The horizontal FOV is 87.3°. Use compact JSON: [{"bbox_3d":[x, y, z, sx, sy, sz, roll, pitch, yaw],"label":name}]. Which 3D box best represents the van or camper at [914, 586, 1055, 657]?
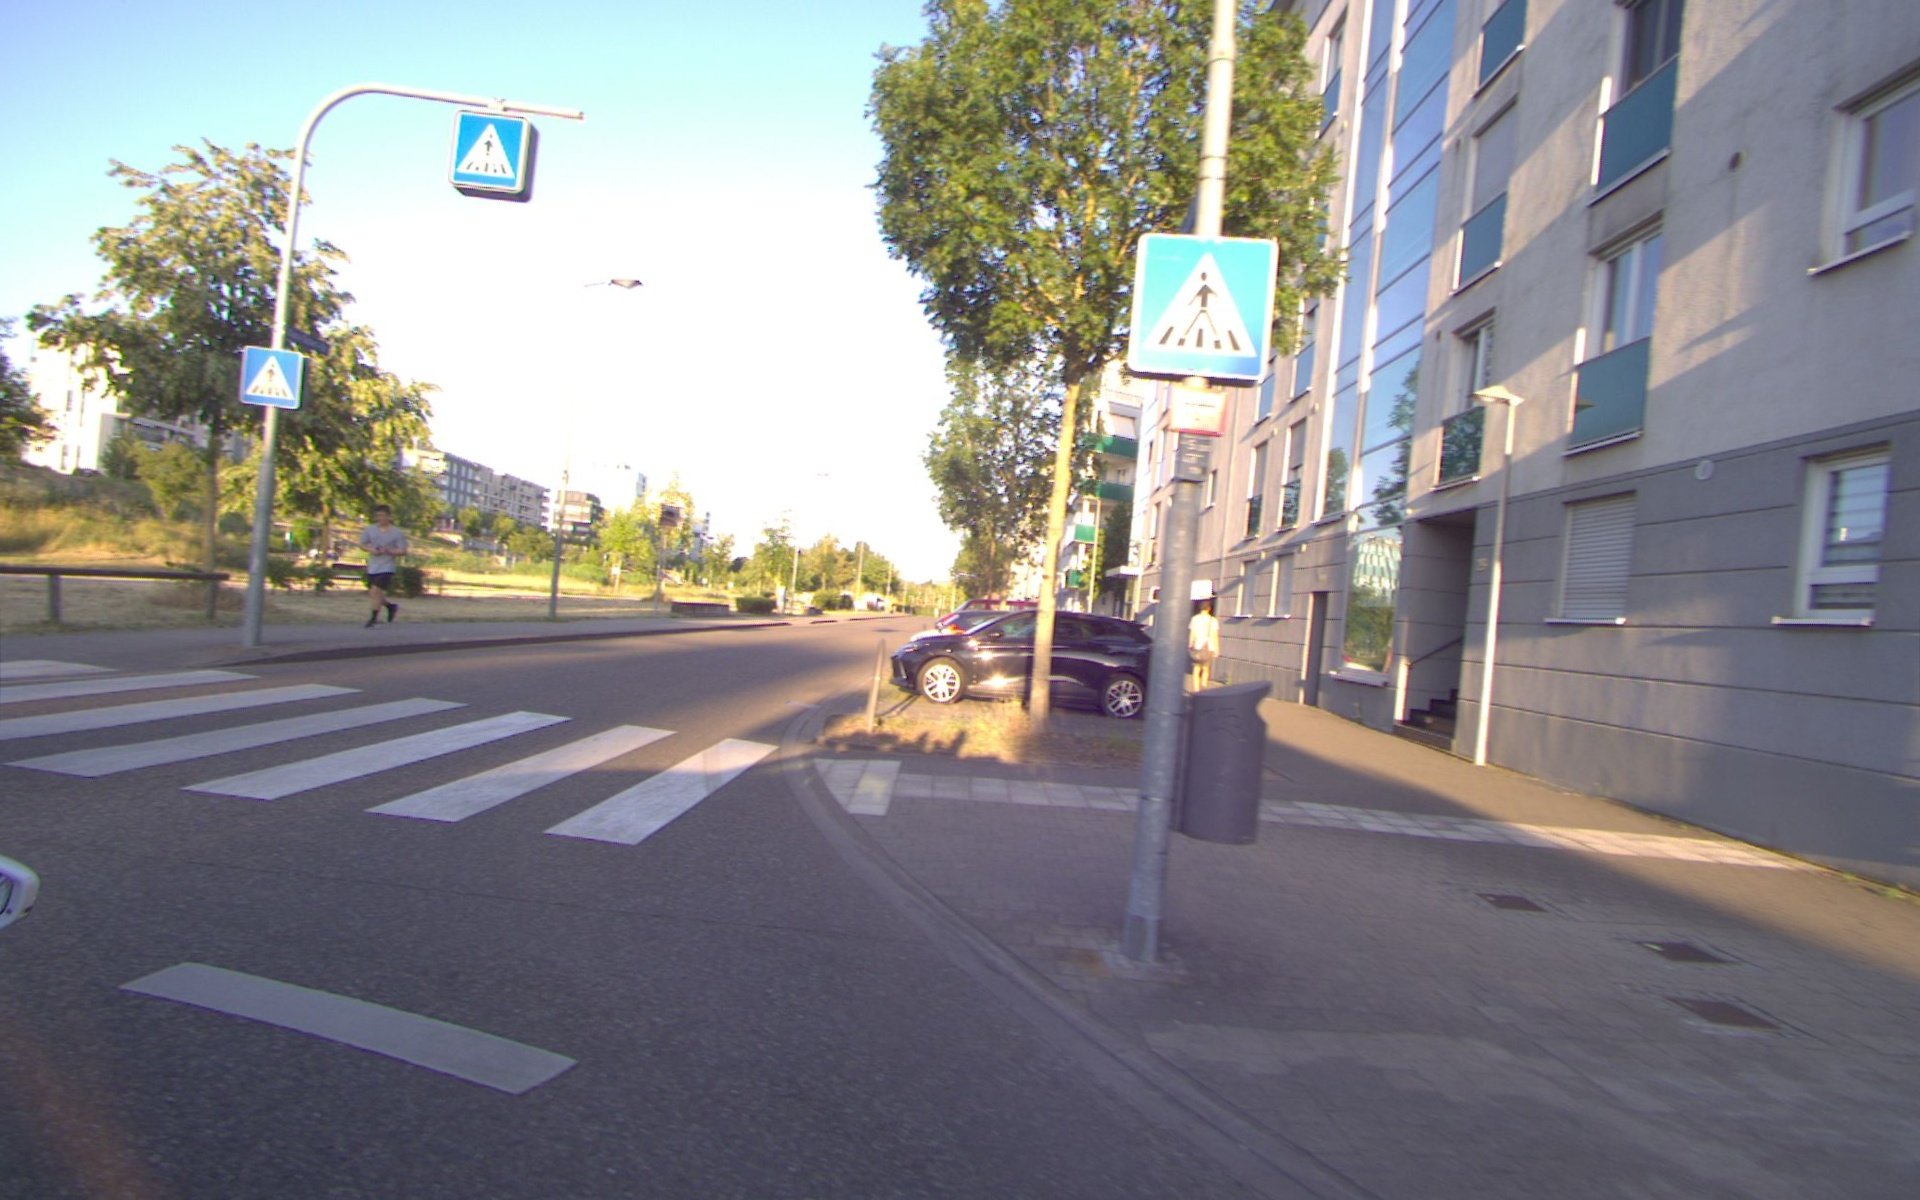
[{"bbox_3d":[0.873,0.815,38.273,5.038,2.085,1.877,6,0,-3],"label":"van or camper"}]

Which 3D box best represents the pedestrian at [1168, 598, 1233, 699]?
[{"bbox_3d":[4.783,0.951,20.055,0.961,1.918,1.049,2,0,0],"label":"pedestrian"}]

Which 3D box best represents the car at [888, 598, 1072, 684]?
[{"bbox_3d":[0.427,0.923,23.275,3.982,1.498,1.701,6,0,-2],"label":"car"}]

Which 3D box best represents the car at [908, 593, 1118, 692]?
[{"bbox_3d":[1.012,0.839,20.482,3.982,1.498,1.701,6,0,-2],"label":"car"}]

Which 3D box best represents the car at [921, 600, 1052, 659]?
[{"bbox_3d":[0.883,1.030,35.409,4.385,1.540,1.701,6,0,-2],"label":"car"}]

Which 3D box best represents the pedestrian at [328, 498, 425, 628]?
[{"bbox_3d":[-8.397,-0.508,14.506,0.753,1.751,0.802,6,0,4],"label":"pedestrian"}]

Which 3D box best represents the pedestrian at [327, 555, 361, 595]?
[{"bbox_3d":[-16.643,-0.680,27.172,0.491,1.017,0.570,6,0,-5],"label":"pedestrian"}]

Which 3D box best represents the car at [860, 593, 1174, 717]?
[{"bbox_3d":[0.795,0.794,15.222,4.397,1.506,1.833,4,0,-2],"label":"car"}]

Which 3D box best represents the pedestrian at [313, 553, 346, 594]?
[{"bbox_3d":[-16.602,-0.685,26.496,0.491,1.017,0.481,6,0,-5],"label":"pedestrian"}]
